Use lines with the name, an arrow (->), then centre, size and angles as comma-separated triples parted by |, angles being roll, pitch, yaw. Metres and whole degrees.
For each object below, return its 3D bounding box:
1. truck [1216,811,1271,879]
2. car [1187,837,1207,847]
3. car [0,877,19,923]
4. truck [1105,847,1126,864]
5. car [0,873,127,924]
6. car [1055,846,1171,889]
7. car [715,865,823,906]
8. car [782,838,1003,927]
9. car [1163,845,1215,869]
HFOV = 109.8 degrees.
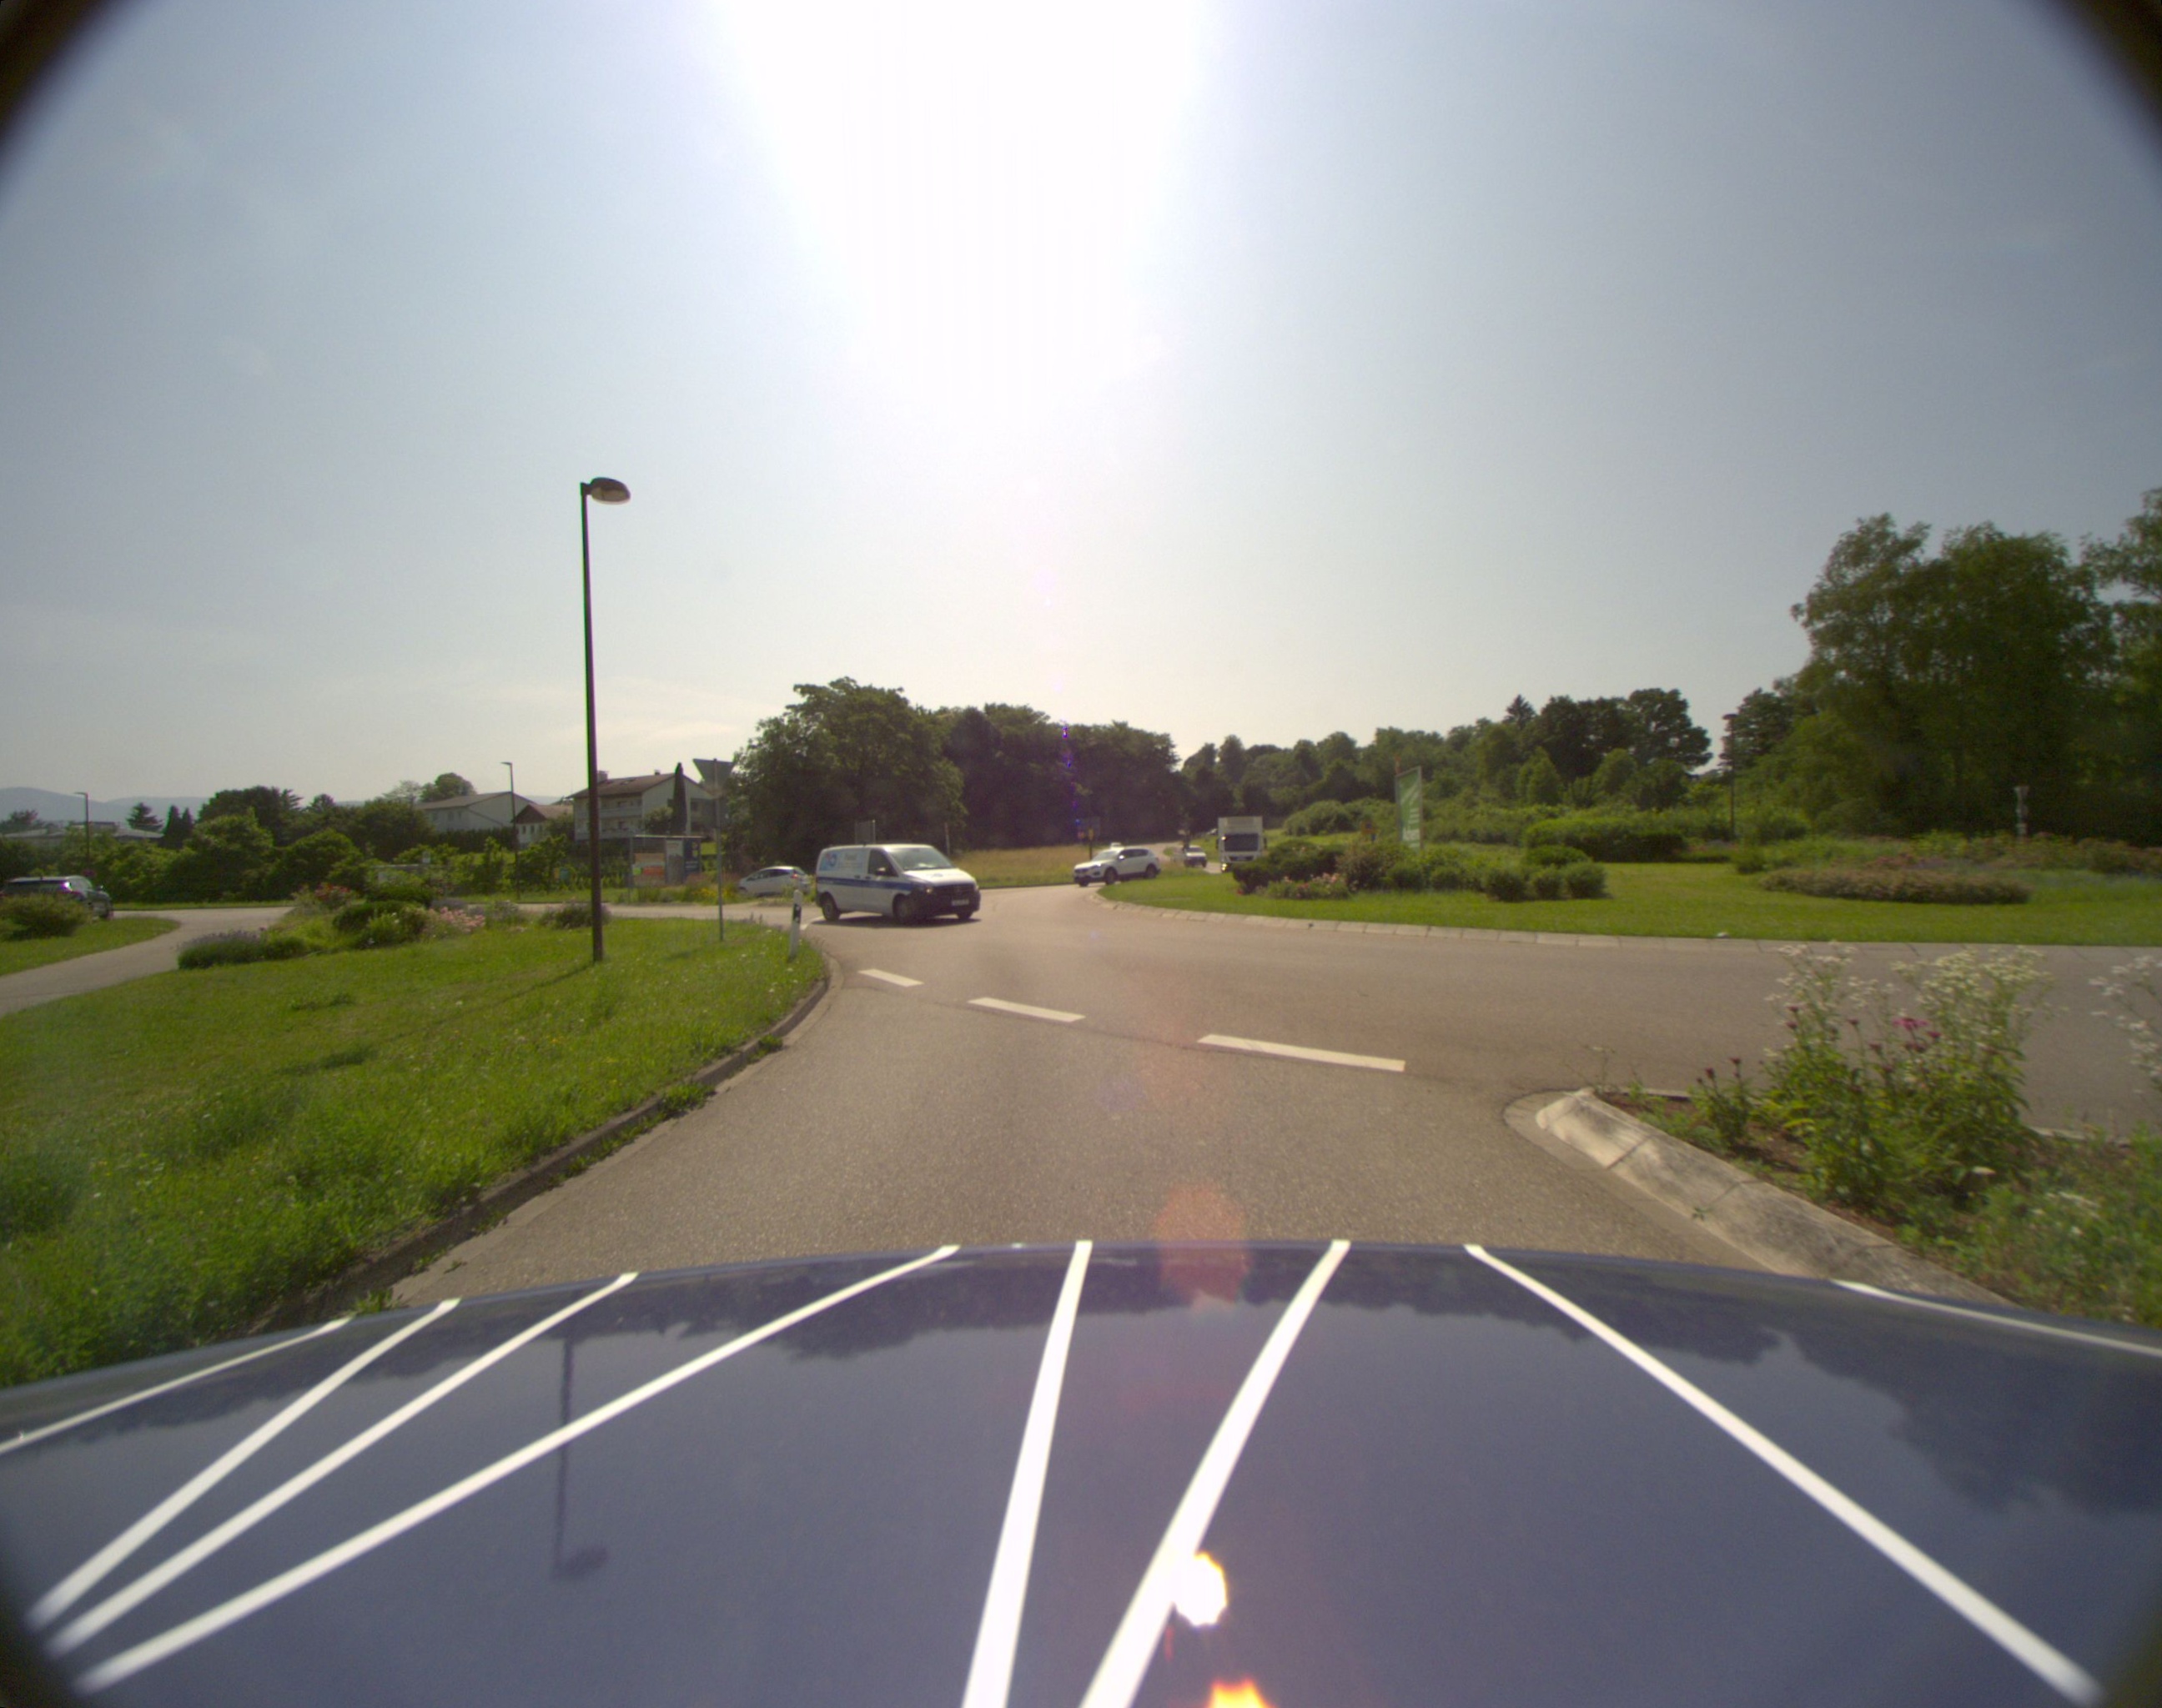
truck -> 10.225, -0.602, 48.398 | 2.896, 3.807, 9.029 | -3, 1, 11
car -> 19.310, -1.996, 126.567 | 1.753, 1.521, 4.222 | 0, -1, 31
car -> -35.570, 1.507, 23.522 | 1.913, 1.504, 4.364 | -1, 0, -38
truck -> 4.684, 0.205, 100.981 | 2.360, 2.002, 5.442 | -3, 1, 6
car -> -34.183, 1.413, 25.345 | 1.913, 1.504, 4.364 | -1, 0, -38
car -> 1.528, 0.589, 34.707 | 5.130, 1.642, 2.192 | -3, 0, -41
car -> -14.654, 1.485, 35.879 | 4.197, 1.606, 2.129 | -3, -2, -2
car -> -4.691, 0.722, 18.751 | 5.217, 1.927, 1.863 | -3, 1, 26
car -> 9.604, 0.270, 68.124 | 2.002, 2.002, 5.592 | -3, 1, -22
